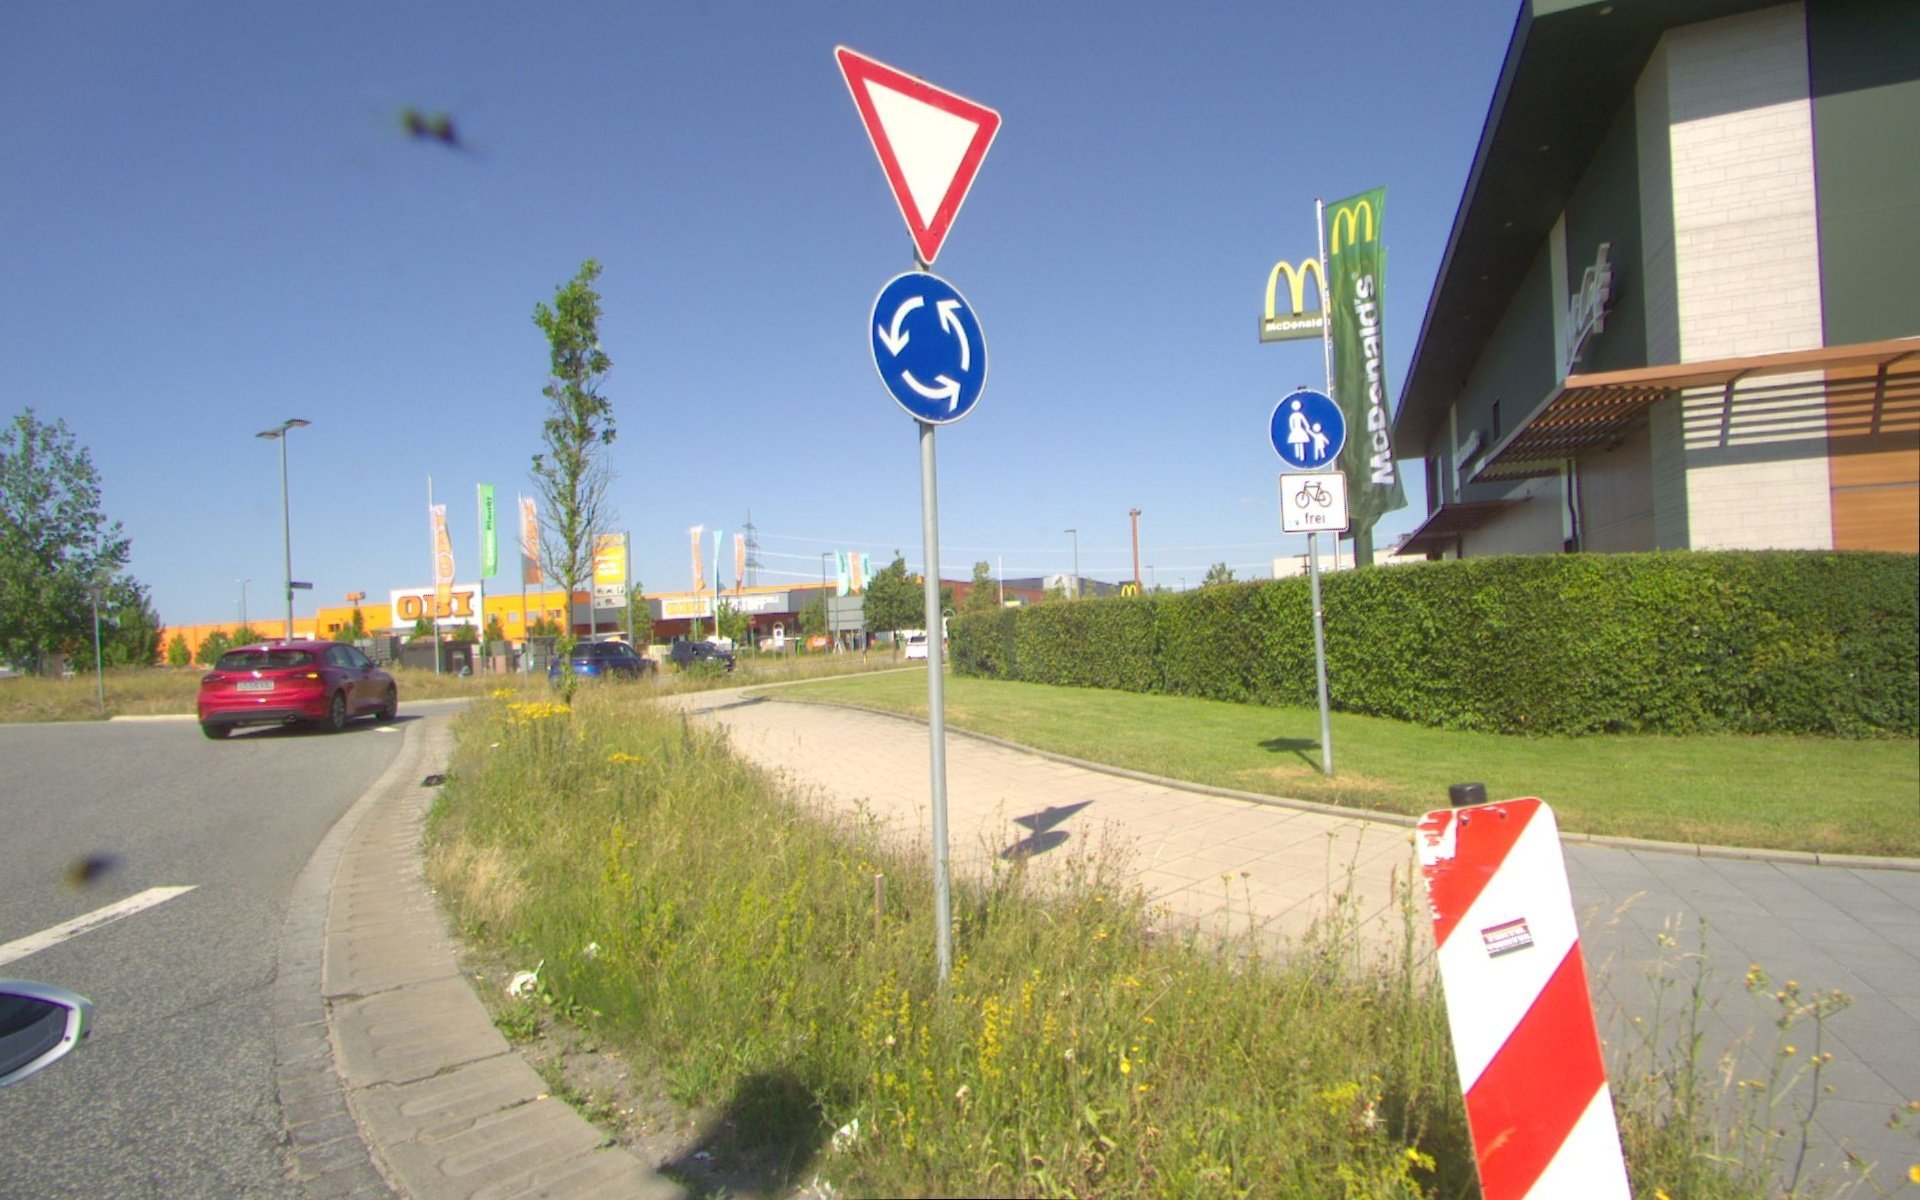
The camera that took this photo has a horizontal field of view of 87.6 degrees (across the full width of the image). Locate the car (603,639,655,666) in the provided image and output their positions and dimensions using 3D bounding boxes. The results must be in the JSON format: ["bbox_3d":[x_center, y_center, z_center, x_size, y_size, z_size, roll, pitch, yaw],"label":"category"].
[{"bbox_3d":[-23.583,3.750,71.431,1.670,1.863,3.772,-3,-4,16],"label":"car"}]

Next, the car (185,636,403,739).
[{"bbox_3d":[-10.854,1.344,16.679,1.776,1.434,4.113,-1,-2,-15],"label":"car"}]

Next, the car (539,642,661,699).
[{"bbox_3d":[-11.304,2.181,31.785,1.822,1.656,4.080,-1,-2,11],"label":"car"}]

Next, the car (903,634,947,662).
[{"bbox_3d":[-1.997,2.776,58.012,1.488,1.459,3.345,-3,-1,18],"label":"car"}]
